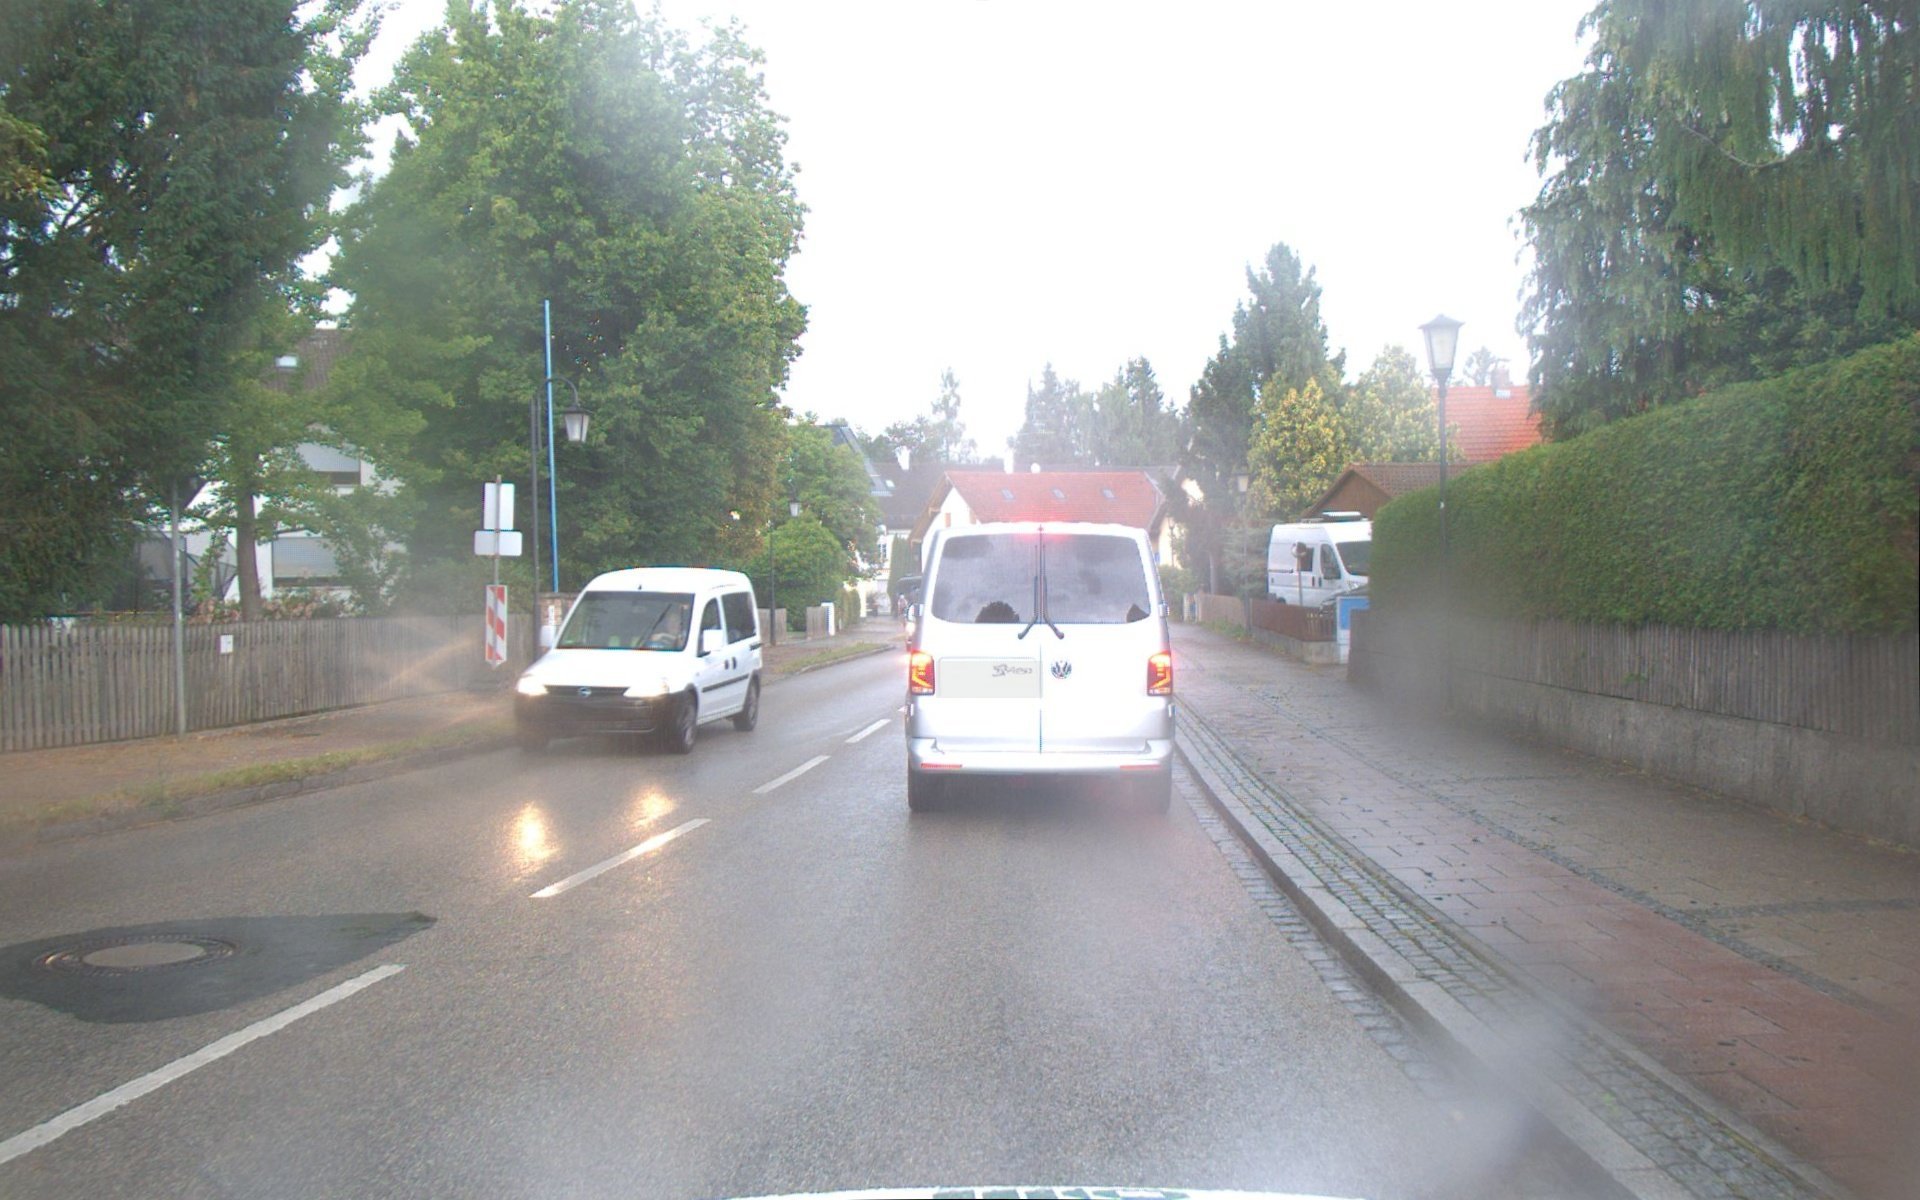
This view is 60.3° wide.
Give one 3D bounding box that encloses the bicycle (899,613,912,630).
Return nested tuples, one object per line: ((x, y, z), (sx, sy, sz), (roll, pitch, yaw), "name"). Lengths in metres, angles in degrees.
((-2.664, 1.031, 80.862), (0.446, 0.812, 1.978), (0, 0, 3), "bicycle")

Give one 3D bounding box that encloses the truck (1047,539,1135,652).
((3.872, -0.096, 49.757), (2.424, 3.128, 6.298), (1, -1, 3), "truck")

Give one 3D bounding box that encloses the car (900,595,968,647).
((-0.716, 0.605, 48.026), (1.583, 1.470, 3.672), (0, -1, 5), "car")

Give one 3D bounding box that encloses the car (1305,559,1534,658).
((8.963, 0.140, 32.469), (4.009, 1.782, 1.695), (-1, 2, 0), "car")

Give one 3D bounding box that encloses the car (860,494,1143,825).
((0.461, 0.384, 12.397), (1.762, 2.049, 4.002), (1, -1, 6), "car")

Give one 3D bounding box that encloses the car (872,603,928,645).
((-2.136, 0.844, 59.661), (1.583, 1.470, 3.672), (0, -1, 5), "car")

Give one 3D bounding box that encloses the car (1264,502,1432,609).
((8.705, -0.928, 37.635), (1.957, 2.211, 4.941), (1, -1, -10), "car")

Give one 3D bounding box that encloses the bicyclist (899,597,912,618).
((-2.663, 0.363, 80.819), (0.575, 1.039, 1.061), (0, 0, 3), "bicyclist")

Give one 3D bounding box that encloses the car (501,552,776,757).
((-3.108, 0.505, 16.883), (1.605, 1.796, 4.333), (1, -1, 5), "car")
